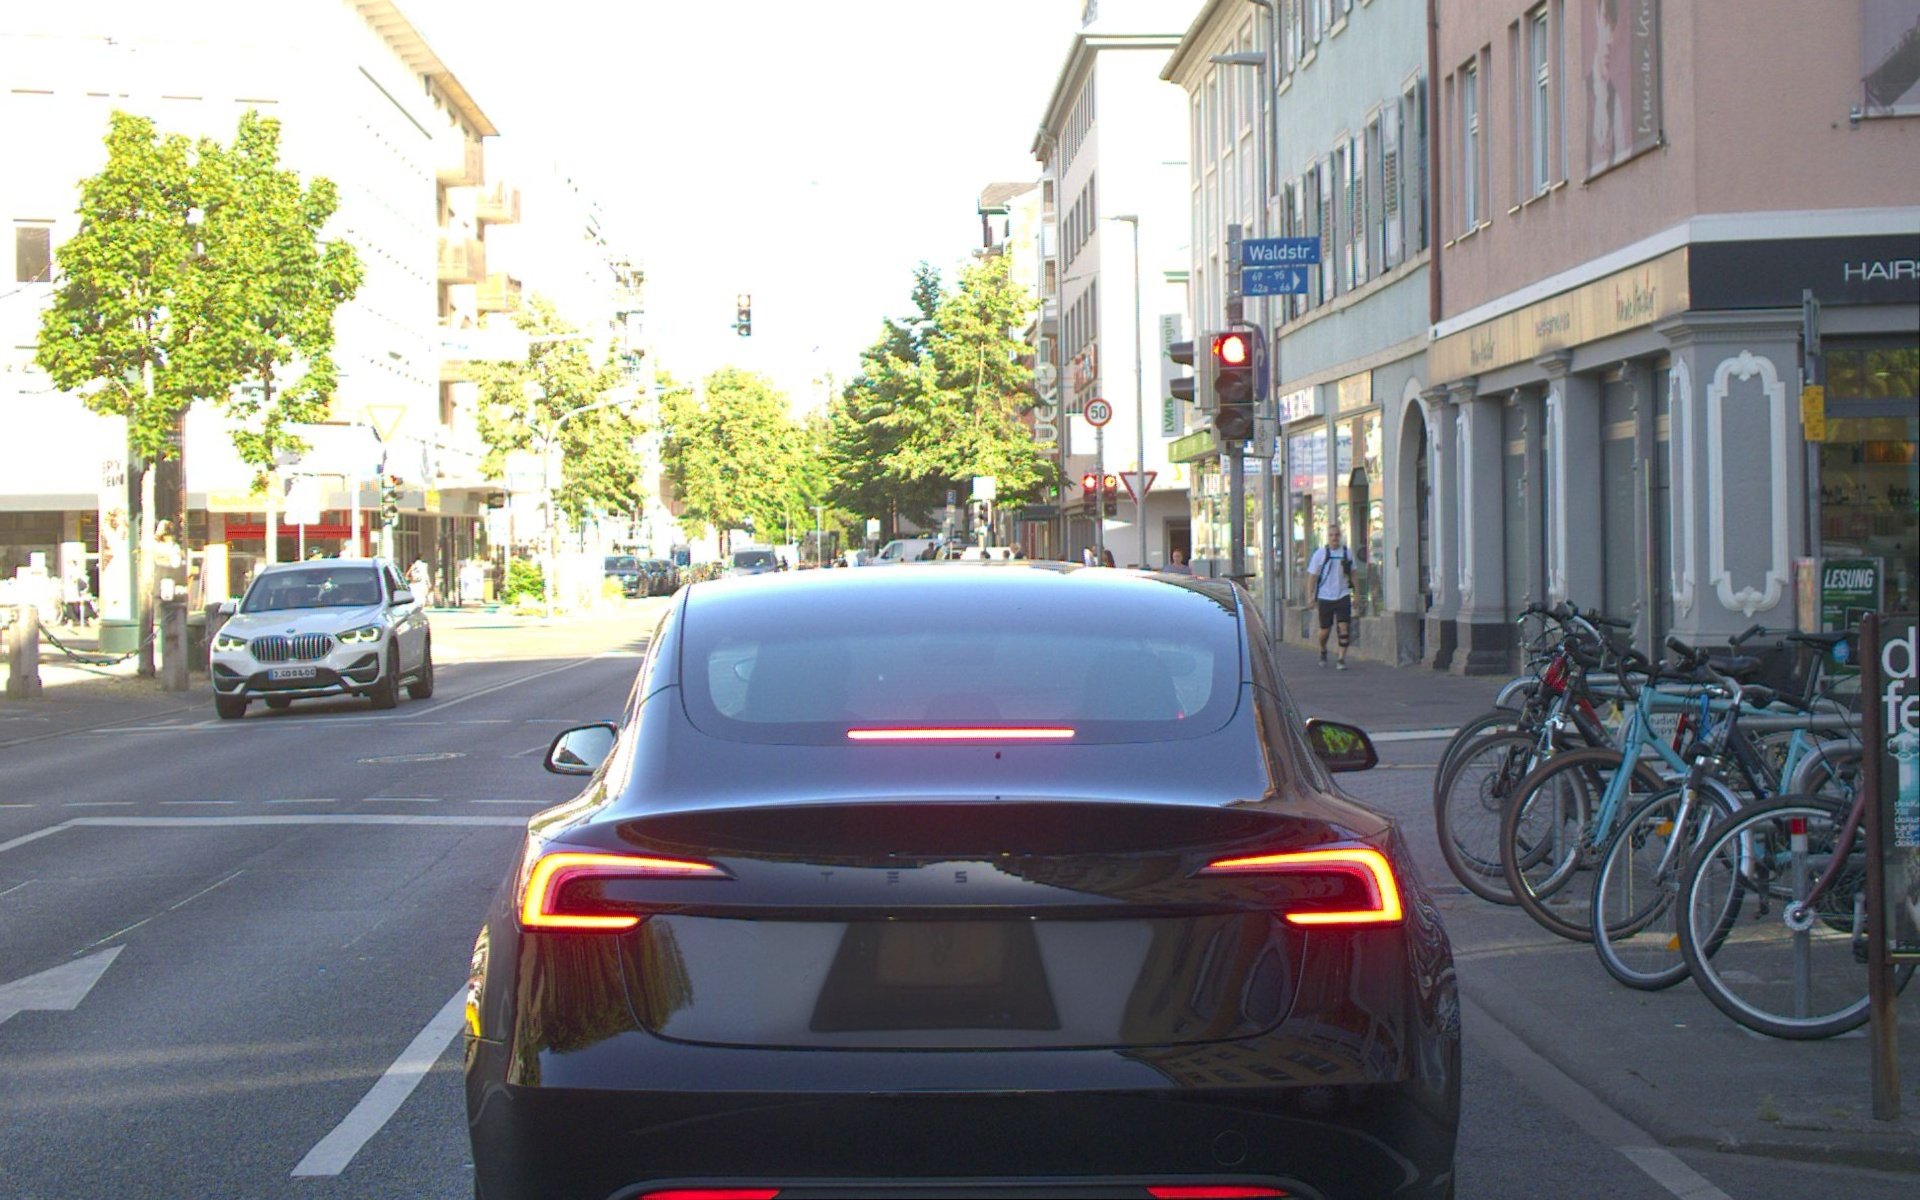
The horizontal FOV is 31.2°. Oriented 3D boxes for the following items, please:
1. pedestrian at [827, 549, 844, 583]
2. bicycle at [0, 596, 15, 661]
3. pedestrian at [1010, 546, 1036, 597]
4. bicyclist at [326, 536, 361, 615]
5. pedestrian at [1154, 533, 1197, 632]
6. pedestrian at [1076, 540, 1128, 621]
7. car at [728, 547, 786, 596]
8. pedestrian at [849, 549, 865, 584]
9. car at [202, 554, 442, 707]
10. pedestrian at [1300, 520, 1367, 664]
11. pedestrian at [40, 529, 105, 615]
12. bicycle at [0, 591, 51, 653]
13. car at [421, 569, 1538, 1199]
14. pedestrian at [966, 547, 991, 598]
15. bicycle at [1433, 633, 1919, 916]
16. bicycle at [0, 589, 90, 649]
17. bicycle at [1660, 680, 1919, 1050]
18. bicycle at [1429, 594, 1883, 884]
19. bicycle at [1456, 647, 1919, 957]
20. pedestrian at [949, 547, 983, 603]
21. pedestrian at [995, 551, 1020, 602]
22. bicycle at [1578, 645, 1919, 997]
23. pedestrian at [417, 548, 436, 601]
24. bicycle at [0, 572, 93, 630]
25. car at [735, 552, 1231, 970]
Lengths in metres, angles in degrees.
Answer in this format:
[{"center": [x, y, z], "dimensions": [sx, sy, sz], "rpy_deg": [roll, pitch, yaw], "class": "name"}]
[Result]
[{"center": [-7.346, -1.987, 202.428], "dimensions": [0.930, 2.007, 0.938], "rpy_deg": [1, 0, -1], "class": "pedestrian"}, {"center": [-14.708, 0.403, 49.782], "dimensions": [1.864, 0.931, 0.606], "rpy_deg": [1, 0, -1], "class": "bicycle"}, {"center": [1.751, -0.791, 95.849], "dimensions": [0.521, 1.417, 0.479], "rpy_deg": [1, 0, -30], "class": "pedestrian"}, {"center": [-11.858, -0.474, 66.127], "dimensions": [0.522, 1.498, 0.476], "rpy_deg": [1, 0, -26], "class": "bicyclist"}, {"center": [3.786, -0.305, 60.467], "dimensions": [0.706, 1.736, 0.540], "rpy_deg": [0, 1, -1], "class": "pedestrian"}, {"center": [2.858, -0.399, 69.358], "dimensions": [0.754, 1.626, 0.956], "rpy_deg": [1, 0, -18], "class": "pedestrian"}, {"center": [-7.002, -1.000, 118.900], "dimensions": [1.787, 1.640, 4.403], "rpy_deg": [1, 1, -1], "class": "car"}, {"center": [-6.057, -1.967, 202.282], "dimensions": [0.930, 2.007, 0.938], "rpy_deg": [1, 0, -1], "class": "pedestrian"}, {"center": [-6.651, 0.289, 36.181], "dimensions": [1.789, 1.455, 3.757], "rpy_deg": [-2, 1, 0], "class": "car"}, {"center": [4.661, -0.103, 42.994], "dimensions": [0.750, 1.759, 0.836], "rpy_deg": [1, 0, 4], "class": "pedestrian"}, {"center": [-20.919, -0.661, 81.058], "dimensions": [1.059, 2.007, 1.052], "rpy_deg": [1, 1, 42], "class": "pedestrian"}, {"center": [-14.804, 0.328, 52.149], "dimensions": [1.864, 0.931, 0.606], "rpy_deg": [0, 1, -1], "class": "bicycle"}, {"center": [0.009, 0.652, 7.612], "dimensions": [1.822, 1.437, 4.000], "rpy_deg": [0, 1, -1], "class": "car"}, {"center": [0.523, -0.765, 95.760], "dimensions": [0.472, 1.412, 0.522], "rpy_deg": [1, 0, -31], "class": "pedestrian"}, {"center": [2.850, 0.684, 13.641], "dimensions": [1.873, 1.034, 0.547], "rpy_deg": [-2, 0, 5], "class": "bicycle"}, {"center": [-14.833, 0.303, 54.598], "dimensions": [1.864, 0.931, 0.606], "rpy_deg": [0, 1, -1], "class": "bicycle"}, {"center": [3.023, 0.751, 10.008], "dimensions": [1.873, 1.034, 0.353], "rpy_deg": [-2, 0, 6], "class": "bicycle"}, {"center": [2.965, 0.589, 14.753], "dimensions": [1.828, 1.165, 0.505], "rpy_deg": [-2, 0, 5], "class": "bicycle"}, {"center": [2.776, 0.716, 12.425], "dimensions": [1.873, 1.034, 0.533], "rpy_deg": [-2, 0, 4], "class": "bicycle"}, {"center": [0.189, -0.764, 103.788], "dimensions": [0.715, 1.689, 0.851], "rpy_deg": [0, 1, -28], "class": "pedestrian"}, {"center": [1.320, -0.651, 95.273], "dimensions": [0.521, 1.417, 0.479], "rpy_deg": [1, 0, -30], "class": "pedestrian"}, {"center": [2.996, 0.699, 11.170], "dimensions": [1.873, 1.084, 0.414], "rpy_deg": [-2, 0, 4], "class": "bicycle"}, {"center": [-14.608, -0.692, 94.128], "dimensions": [0.459, 1.455, 0.518], "rpy_deg": [0, 1, -5], "class": "pedestrian"}, {"center": [-20.909, 0.017, 77.954], "dimensions": [2.361, 1.291, 0.513], "rpy_deg": [1, 0, -26], "class": "bicycle"}, {"center": [0.014, 0.531, 13.784], "dimensions": [1.718, 1.420, 3.758], "rpy_deg": [0, 1, -2], "class": "car"}]
